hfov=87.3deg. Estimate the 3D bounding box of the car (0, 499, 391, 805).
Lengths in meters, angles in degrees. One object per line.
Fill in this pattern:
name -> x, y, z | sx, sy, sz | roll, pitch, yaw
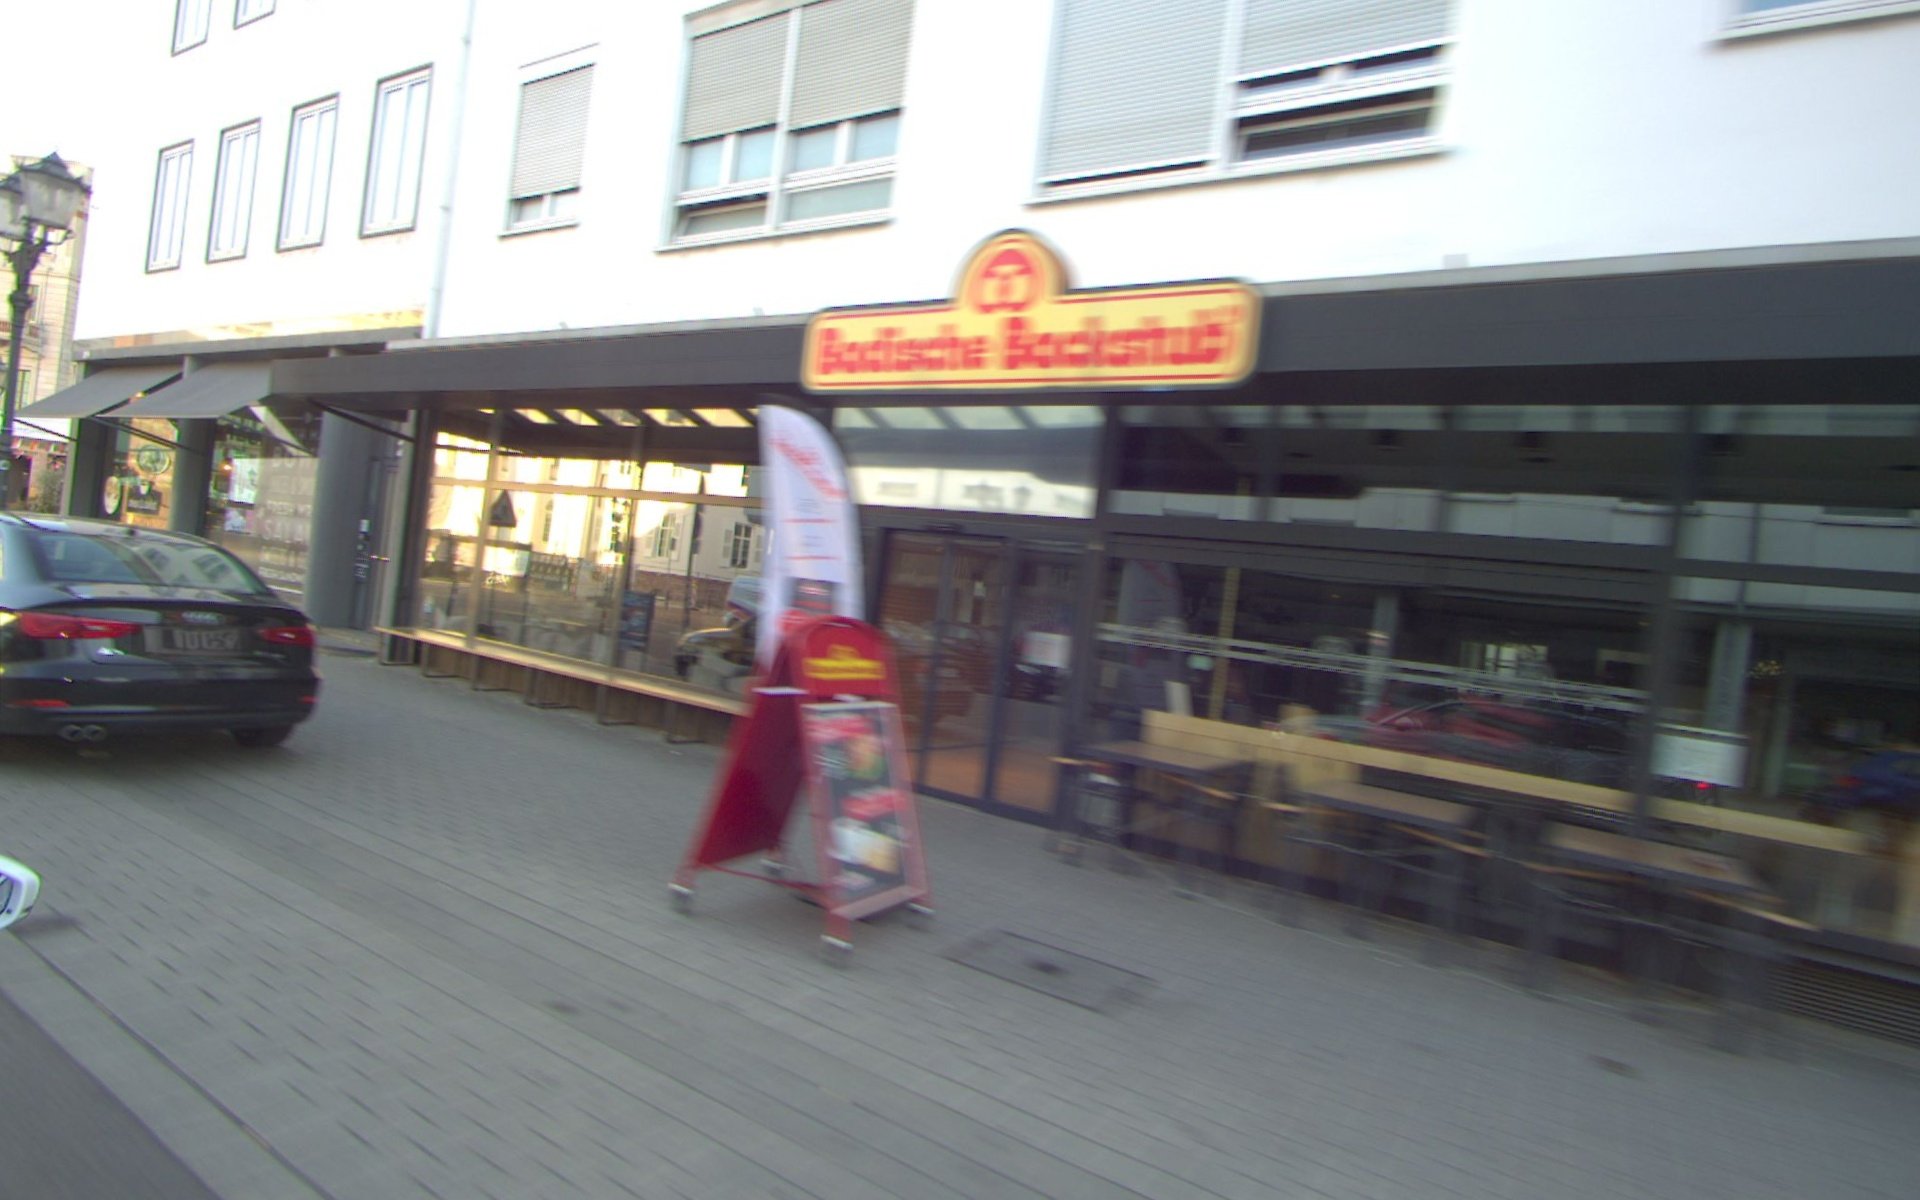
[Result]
car -> -5.970, 0.136, 6.780 | 4.047, 1.482, 1.804 | 7, 0, 30
